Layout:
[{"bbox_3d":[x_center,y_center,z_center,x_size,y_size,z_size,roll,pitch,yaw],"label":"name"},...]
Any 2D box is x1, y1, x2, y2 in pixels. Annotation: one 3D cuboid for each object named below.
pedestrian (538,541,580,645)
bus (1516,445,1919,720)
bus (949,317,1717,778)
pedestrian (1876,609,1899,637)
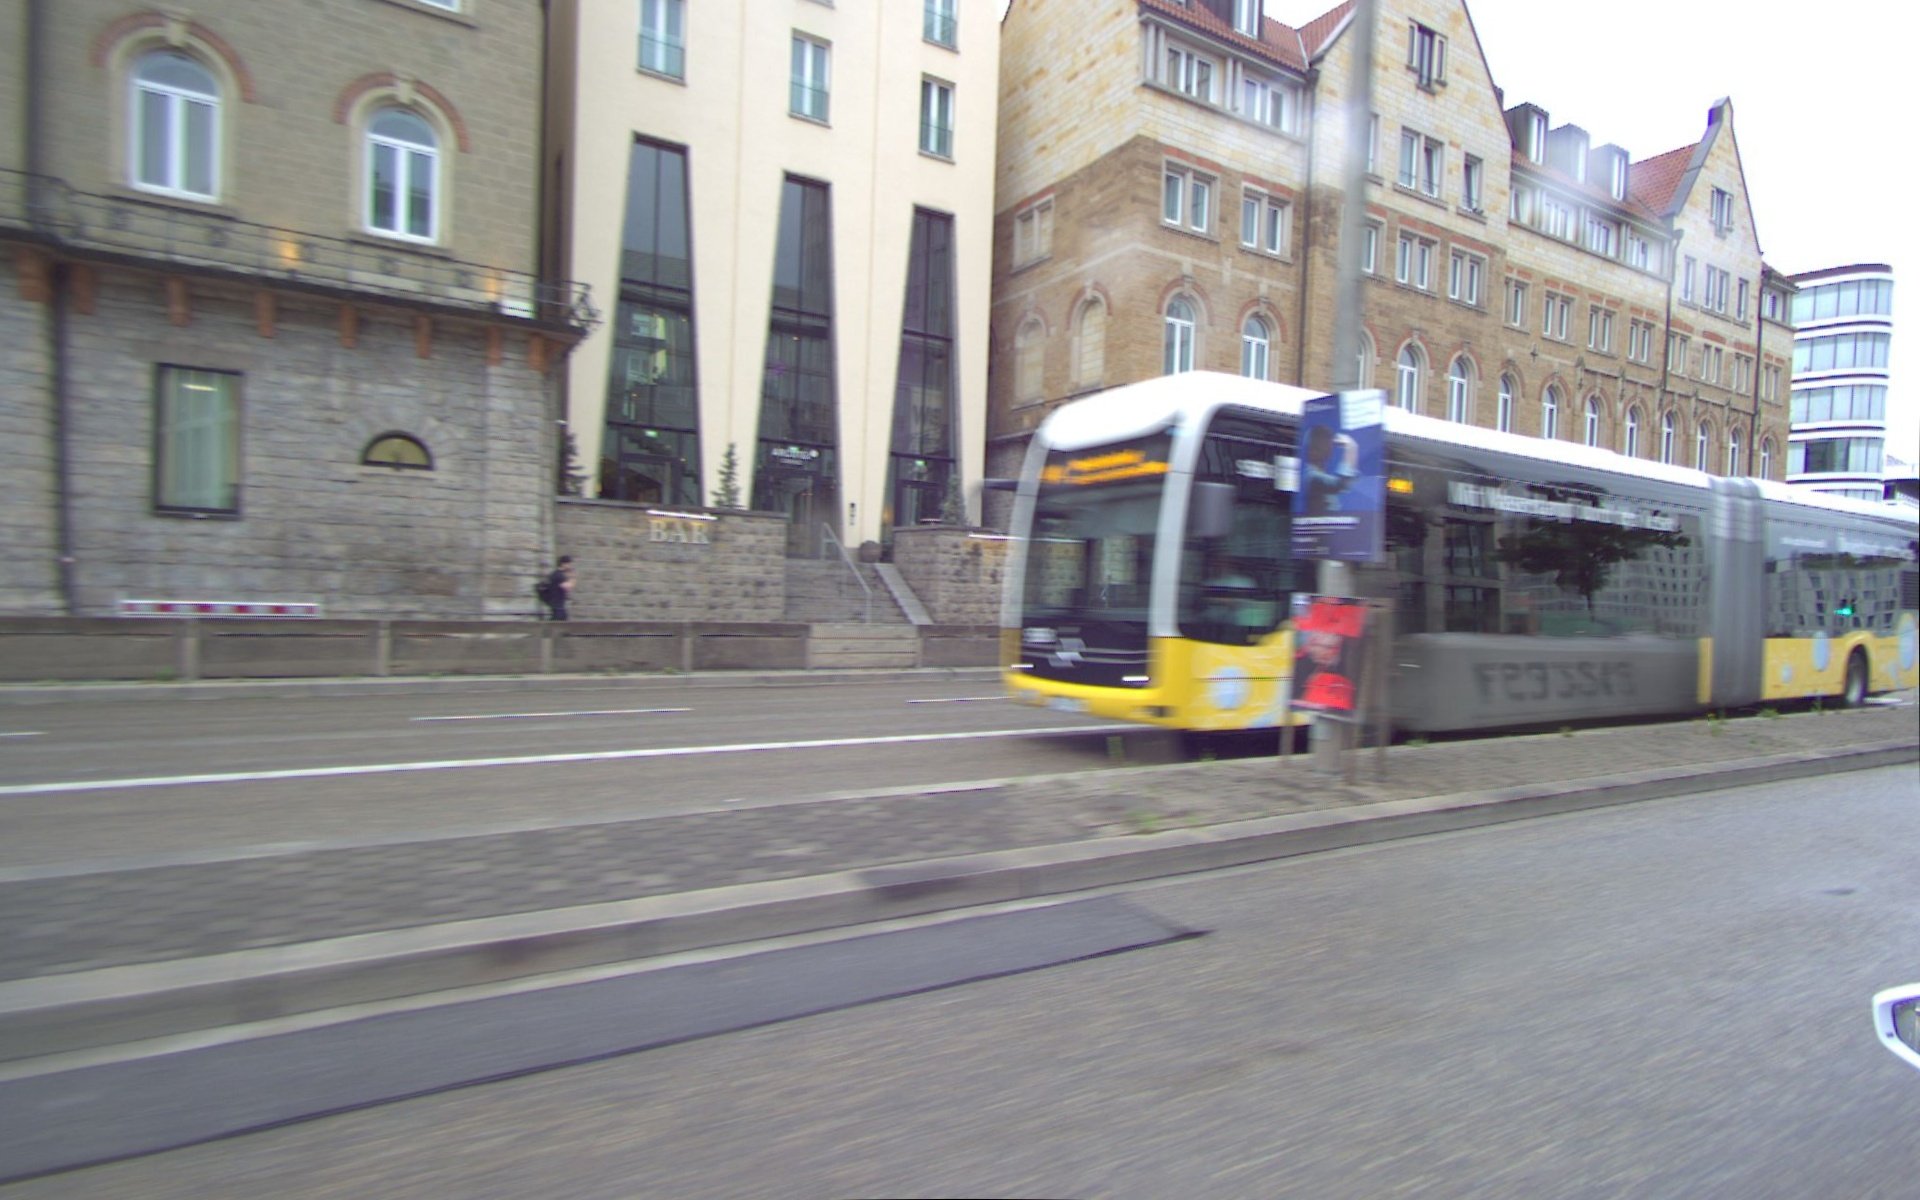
[{"bbox_3d":[-7.002,-0.121,17.554,0.611,1.769,0.640,0,1,-17],"label":"pedestrian"},{"bbox_3d":[13.544,-0.181,16.928,9.978,3.607,2.684,1,0,-31],"label":"bus"},{"bbox_3d":[4.866,-0.298,11.617,9.979,3.607,2.684,2,0,-31],"label":"bus"},{"bbox_3d":[68.051,1.676,73.704,0.707,2.041,1.024,-1,1,-31],"label":"pedestrian"}]
